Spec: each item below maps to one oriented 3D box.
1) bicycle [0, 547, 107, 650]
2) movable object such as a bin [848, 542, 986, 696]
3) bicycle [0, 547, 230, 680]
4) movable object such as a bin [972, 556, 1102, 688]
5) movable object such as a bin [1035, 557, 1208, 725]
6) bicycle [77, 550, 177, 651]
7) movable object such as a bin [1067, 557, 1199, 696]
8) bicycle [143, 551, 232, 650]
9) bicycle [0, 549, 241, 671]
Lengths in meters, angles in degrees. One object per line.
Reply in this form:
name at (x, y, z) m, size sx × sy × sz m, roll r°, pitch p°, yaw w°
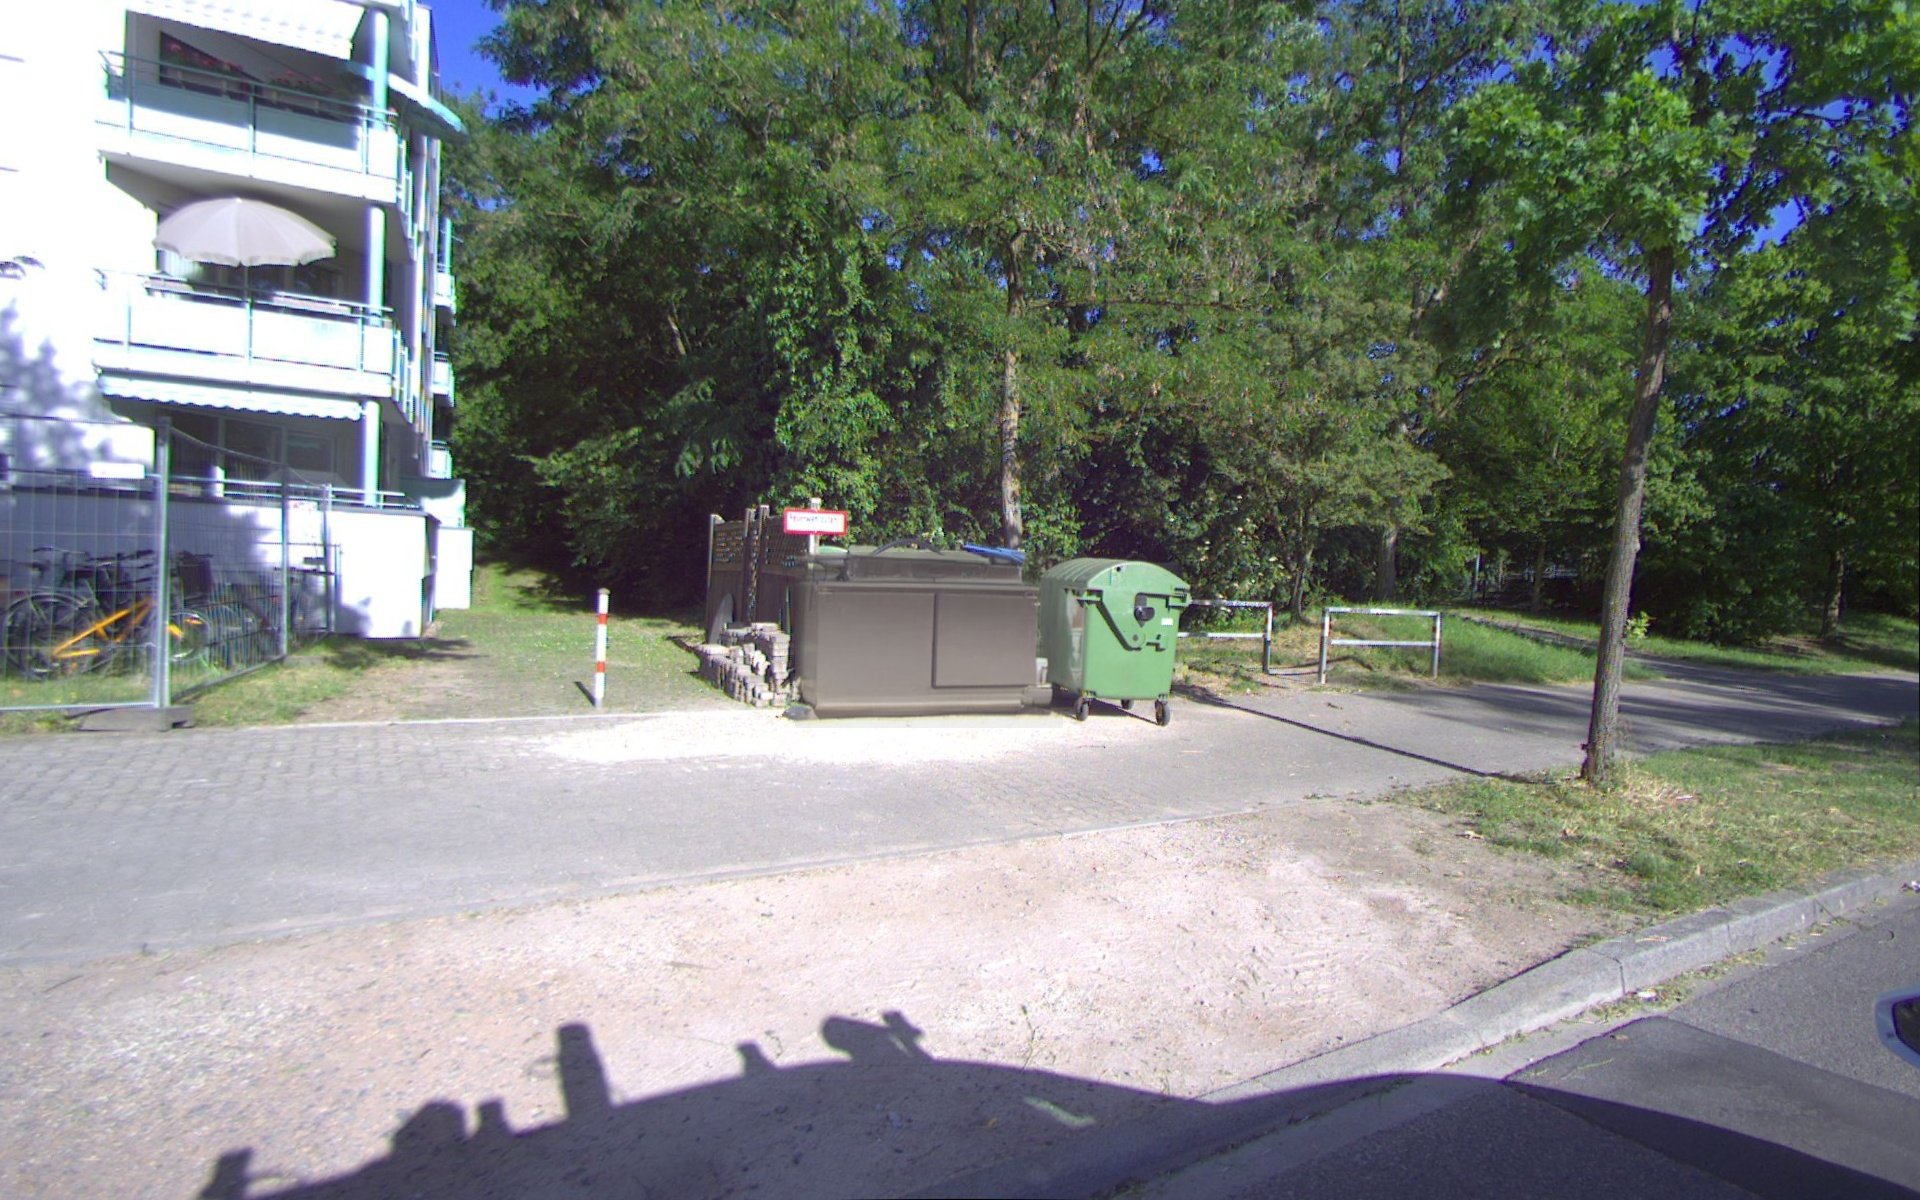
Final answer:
bicycle at (-9.930, -0.046, 11.018) m, size 0.395 × 1.040 × 1.690 m, roll 2°, pitch 2°, yaw -24°
movable object such as a bin at (-0.443, 0.178, 10.449) m, size 1.300 × 1.455 × 1.273 m, roll 2°, pitch 2°, yaw -2°
bicycle at (-7.161, 0.122, 8.371) m, size 1.682 × 1.040 × 0.397 m, roll 2°, pitch 2°, yaw -32°
movable object such as a bin at (0.944, 0.231, 12.104) m, size 1.123 × 1.455 × 1.272 m, roll 3°, pitch 2°, yaw 26°
movable object such as a bin at (1.480, 0.358, 9.476) m, size 1.161 × 1.455 × 1.269 m, roll 2°, pitch 2°, yaw -14°
bicycle at (-9.305, -0.023, 11.269) m, size 0.395 × 1.040 × 1.690 m, roll 2°, pitch 2°, yaw -24°
movable object such as a bin at (2.002, 0.273, 11.500) m, size 1.123 × 1.455 × 1.272 m, roll 3°, pitch 2°, yaw 26°
bicycle at (-8.807, -0.024, 11.502) m, size 0.395 × 1.040 × 1.690 m, roll 2°, pitch 2°, yaw -24°
bicycle at (-7.694, 0.105, 9.238) m, size 1.680 × 1.040 × 0.397 m, roll 3°, pitch 2°, yaw -29°
